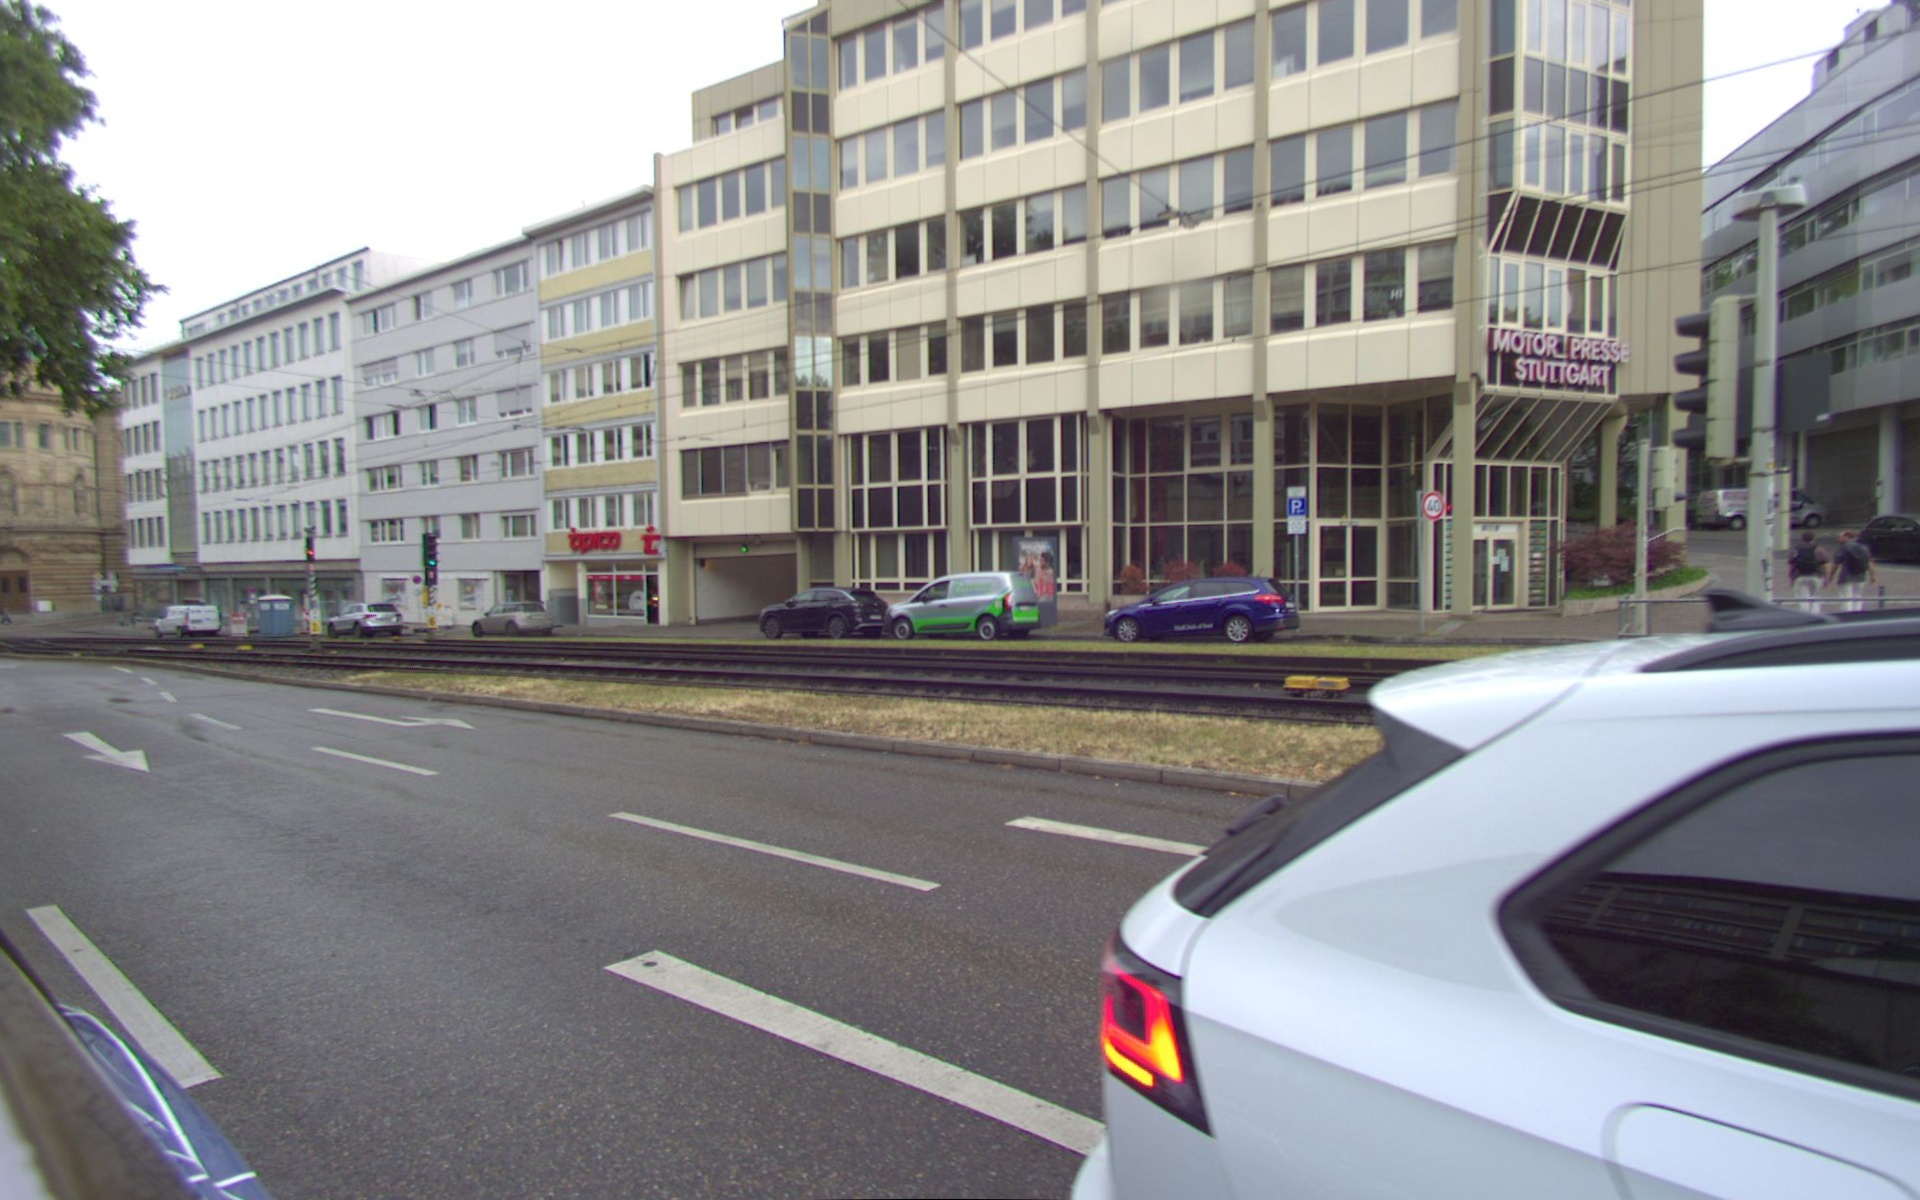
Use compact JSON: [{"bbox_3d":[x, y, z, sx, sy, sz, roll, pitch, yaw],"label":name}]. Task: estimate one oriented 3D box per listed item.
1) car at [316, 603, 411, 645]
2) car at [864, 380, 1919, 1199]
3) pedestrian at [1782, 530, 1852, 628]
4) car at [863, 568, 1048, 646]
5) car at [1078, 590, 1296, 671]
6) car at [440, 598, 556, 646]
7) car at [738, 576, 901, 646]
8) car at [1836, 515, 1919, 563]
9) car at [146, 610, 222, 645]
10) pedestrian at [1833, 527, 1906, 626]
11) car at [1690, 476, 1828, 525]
[{"bbox_3d":[-27.655,1.132,46.864,4.686,1.686,1.976,-2,3,36],"label":"car"},{"bbox_3d":[2.018,0.597,0.696,4.251,1.588,1.662,-1,1,41],"label":"car"},{"bbox_3d":[16.171,-0.398,19.122,0.804,1.800,0.637,-1,3,18],"label":"pedestrian"},{"bbox_3d":[-0.159,0.150,27.364,4.682,1.863,1.978,0,4,34],"label":"car"},{"bbox_3d":[5.228,0.640,23.492,4.536,1.593,1.978,0,4,34],"label":"car"},{"bbox_3d":[-18.399,0.823,40.246,4.682,1.686,1.978,0,4,34],"label":"car"},{"bbox_3d":[-4.266,0.287,30.494,4.682,1.863,1.978,0,4,34],"label":"car"},{"bbox_3d":[28.402,-1.805,29.674,1.803,1.375,4.004,-2,3,-3],"label":"car"},{"bbox_3d":[-46.162,1.581,60.188,5.117,1.856,1.978,0,4,34],"label":"car"},{"bbox_3d":[17.000,-0.439,18.940,0.804,1.800,0.637,-1,3,18],"label":"pedestrian"},{"bbox_3d":[37.974,-4.699,48.203,4.779,2.028,1.996,-2,3,8],"label":"car"}]
